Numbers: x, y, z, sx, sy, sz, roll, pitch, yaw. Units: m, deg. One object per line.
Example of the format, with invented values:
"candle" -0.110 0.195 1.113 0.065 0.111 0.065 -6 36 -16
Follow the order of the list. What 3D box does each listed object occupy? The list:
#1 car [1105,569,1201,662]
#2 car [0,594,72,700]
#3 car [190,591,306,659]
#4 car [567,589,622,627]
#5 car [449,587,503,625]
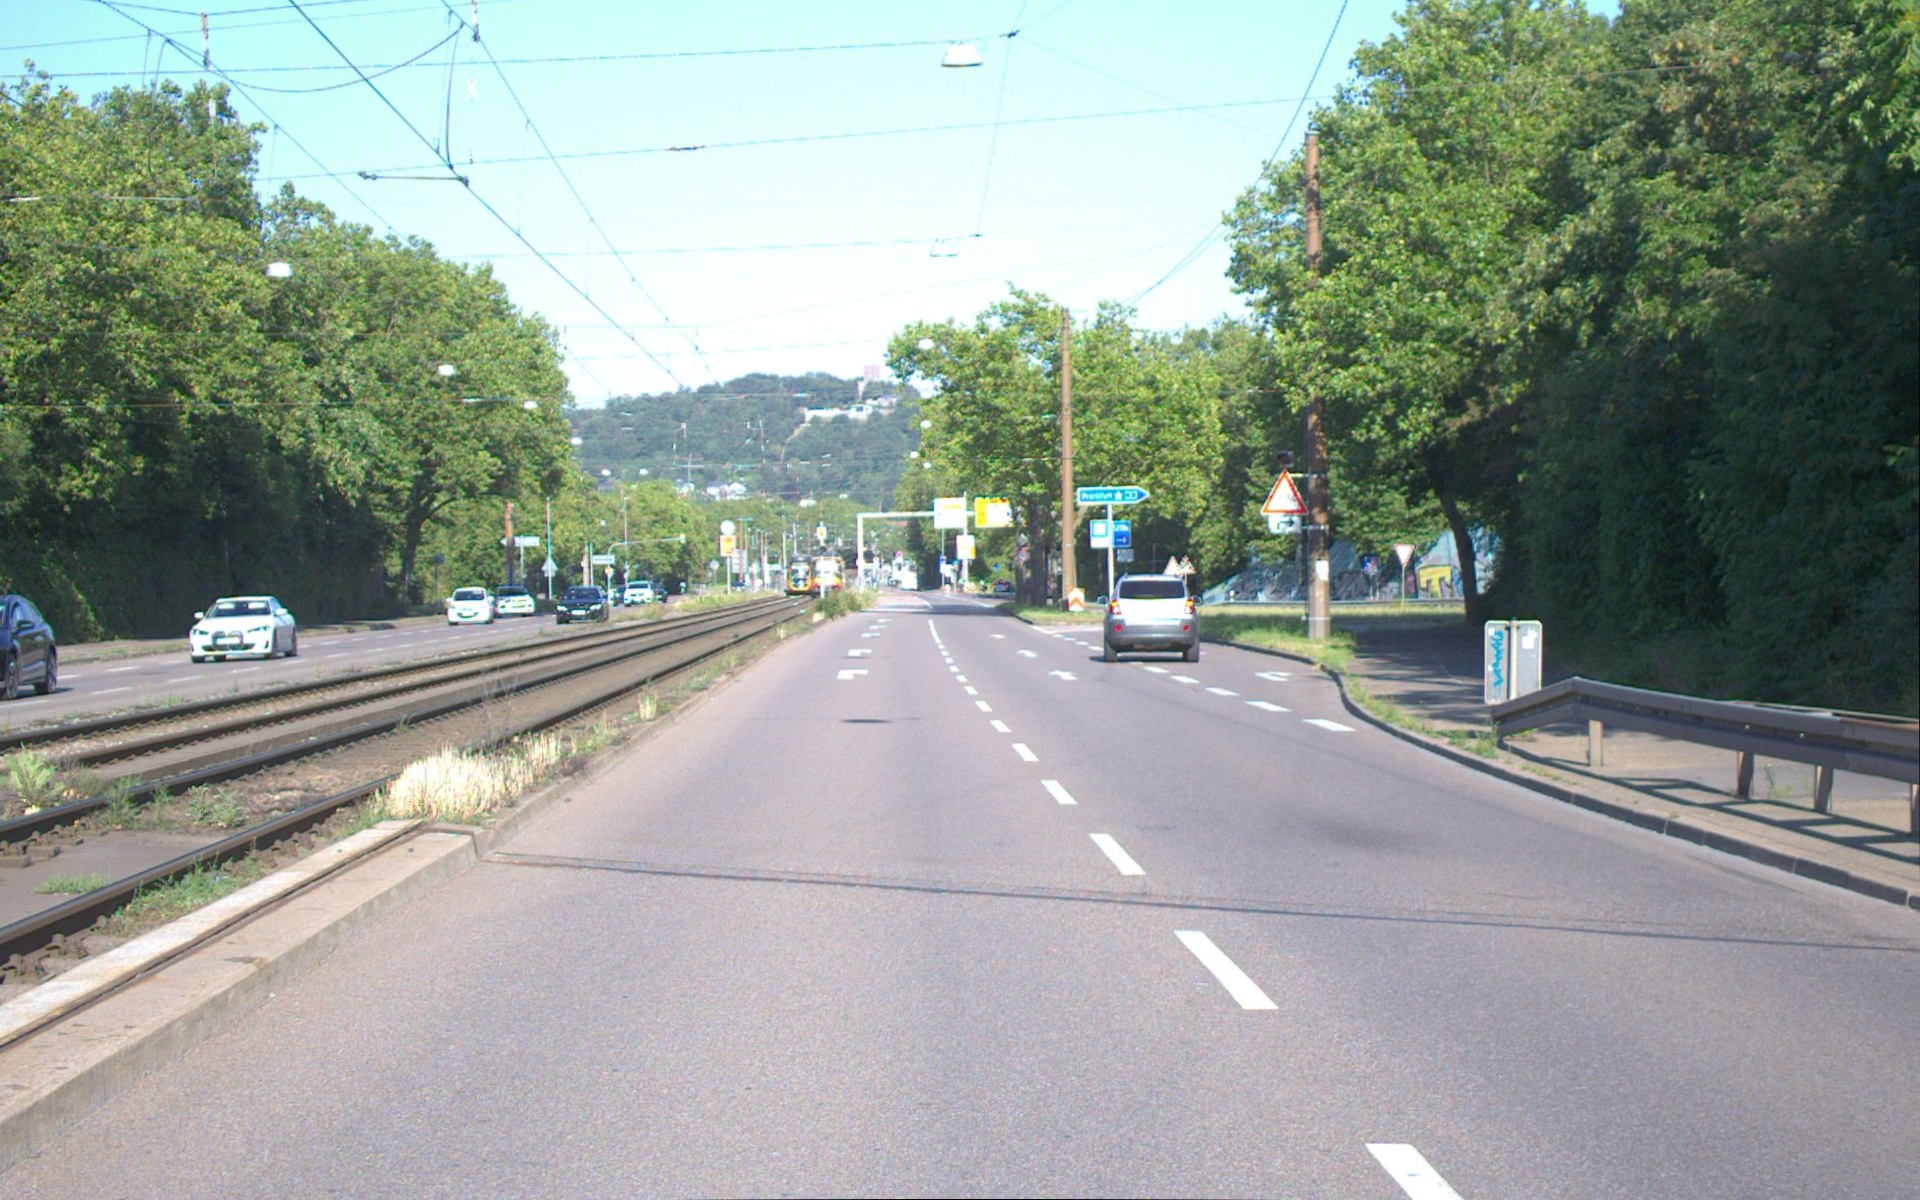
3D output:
"car" 3.801 0.290 67.582 1.809 1.767 3.862 1 0 3
"car" -15.203 0.709 53.375 1.709 1.575 4.801 -1 0 -2
"car" -16.090 0.554 77.880 1.754 1.409 4.878 -3 0 -2
"car" -14.418 0.297 135.842 1.657 1.428 4.502 -2 0 0
"car" -20.862 0.264 148.200 1.691 1.550 4.191 -2 0 0
